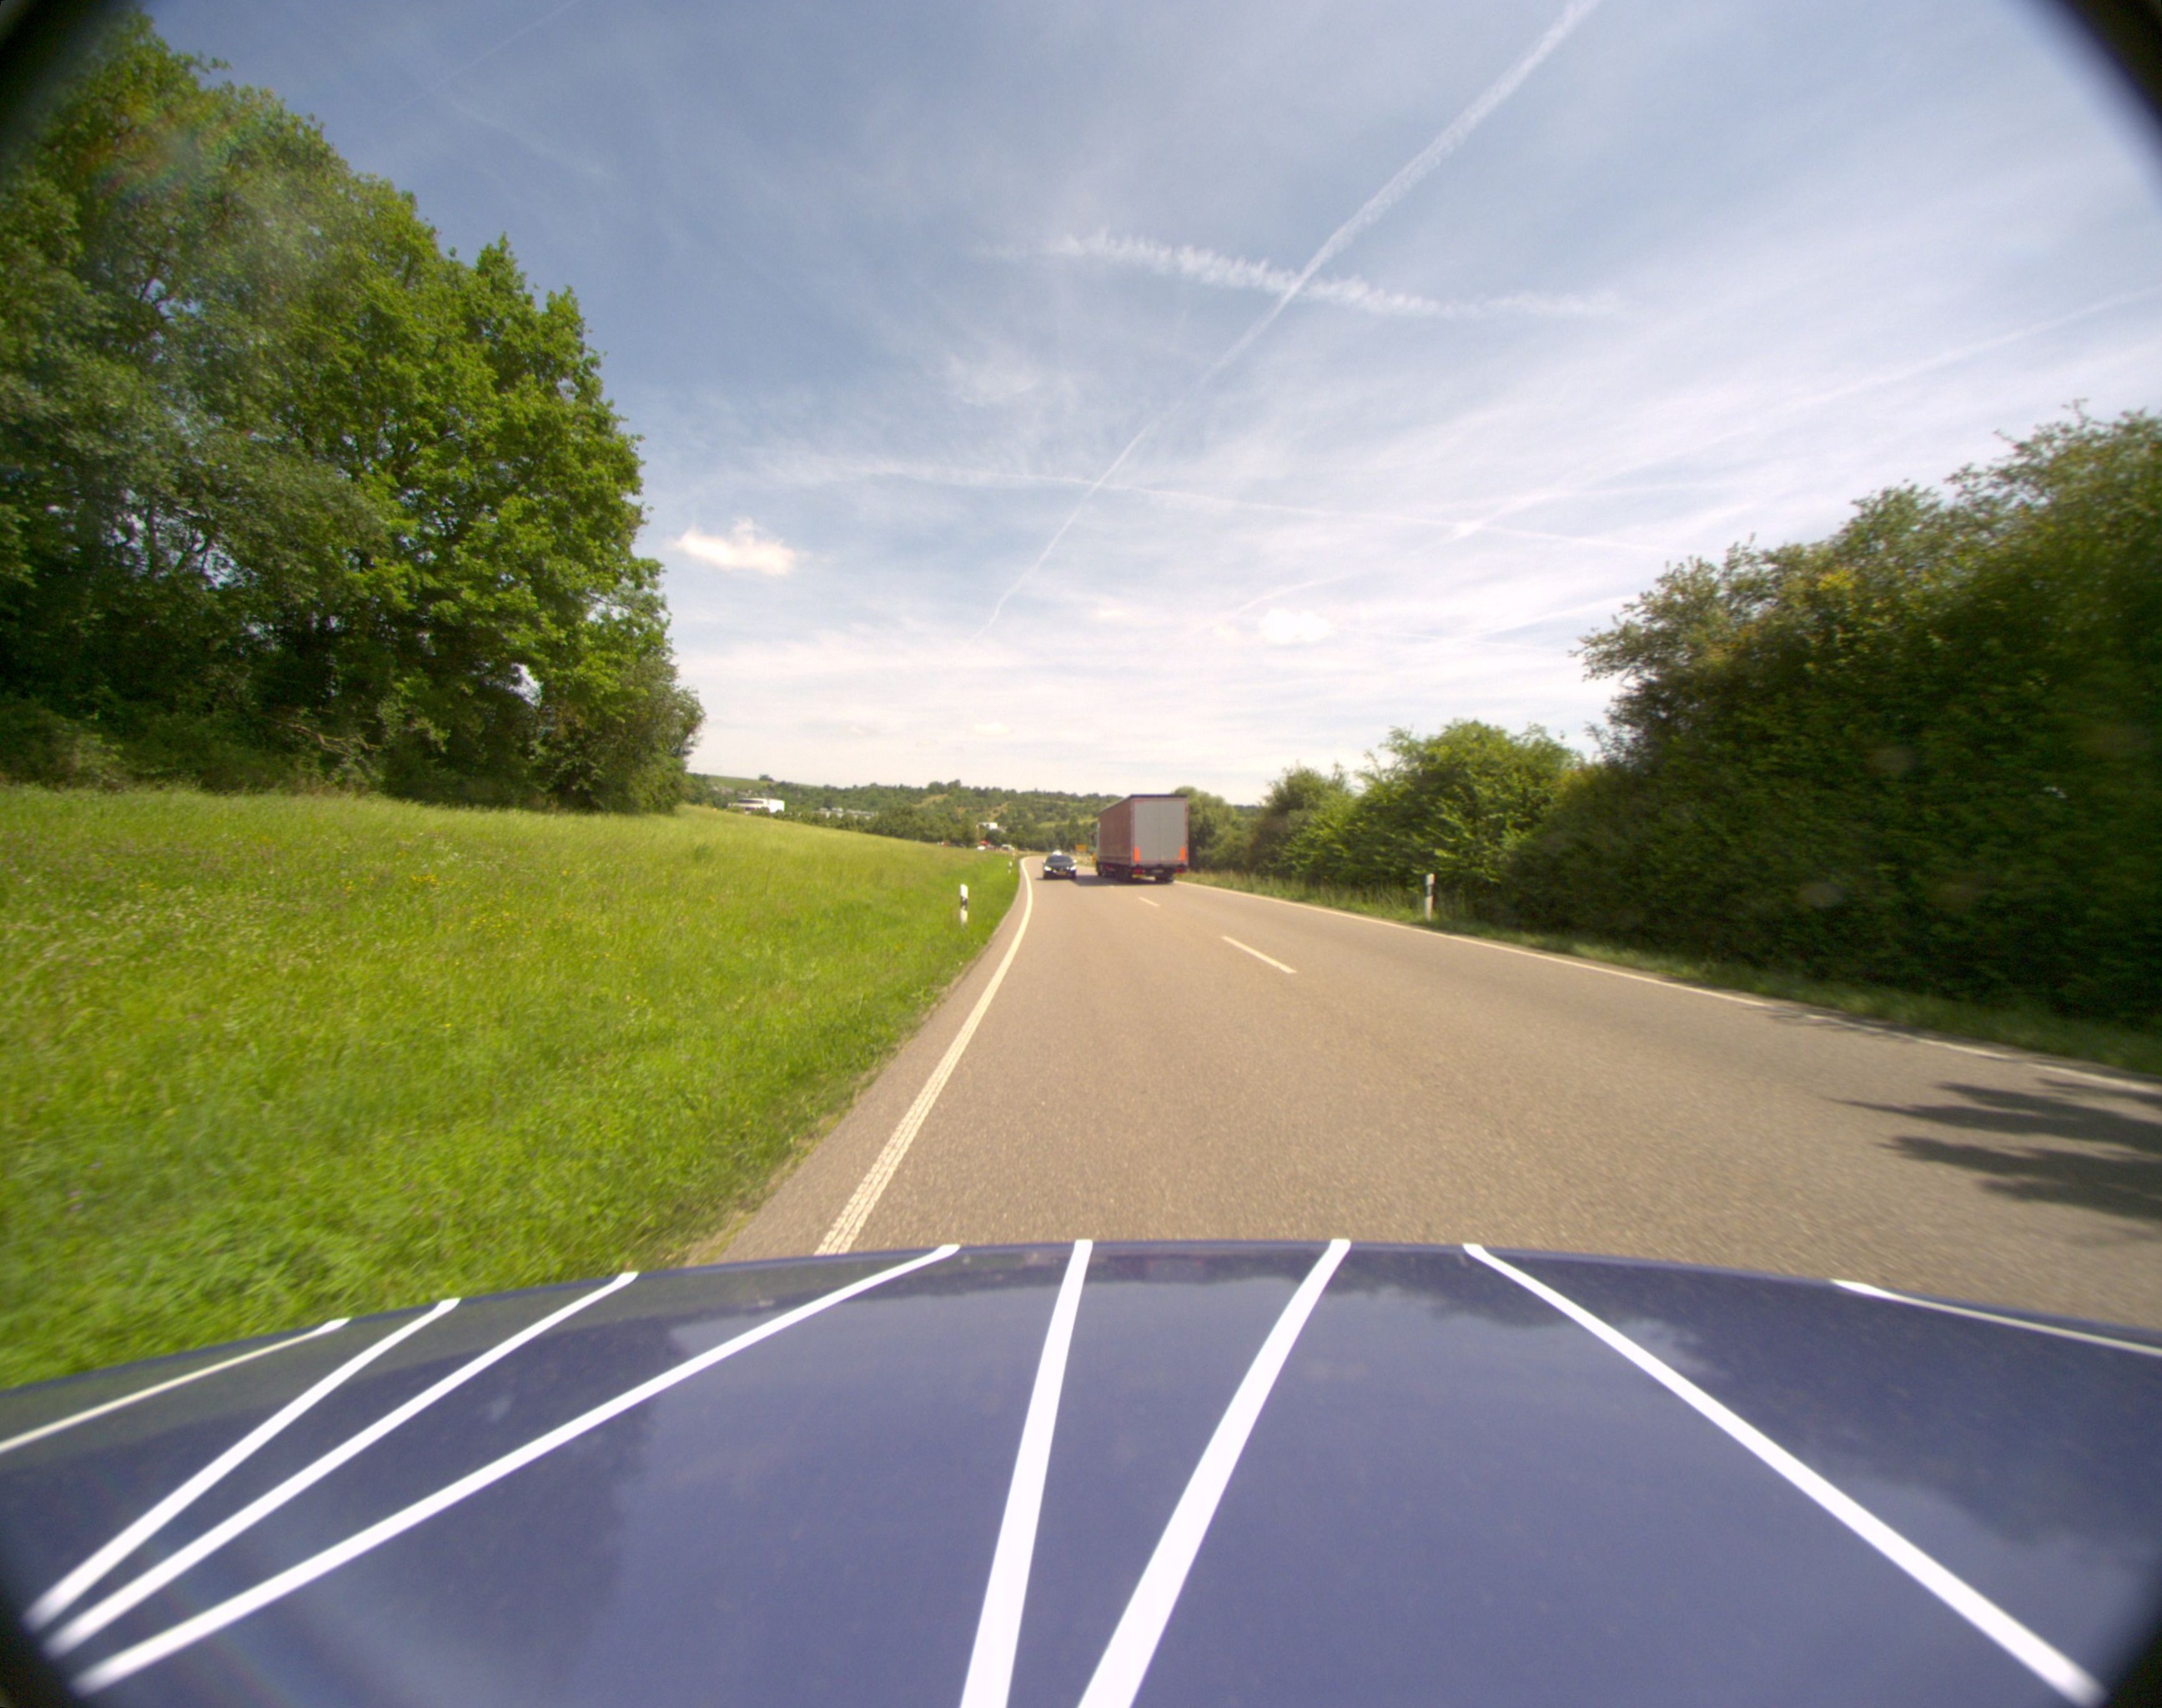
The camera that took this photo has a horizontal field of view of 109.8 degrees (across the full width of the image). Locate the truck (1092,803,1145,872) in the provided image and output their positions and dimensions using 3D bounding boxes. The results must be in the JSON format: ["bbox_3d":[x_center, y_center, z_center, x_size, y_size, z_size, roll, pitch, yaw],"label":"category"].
[{"bbox_3d":[2.308,-1.013,48.500,2.566,4.092,5.796,-2,1,-4],"label":"truck"}]

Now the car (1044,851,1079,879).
[{"bbox_3d":[-1.188,0.579,44.175,1.786,1.440,4.601,-2,1,-4],"label":"car"}]

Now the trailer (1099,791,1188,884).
[{"bbox_3d":[2.937,-0.756,40.503,2.576,4.084,13.655,-2,0,-4],"label":"trailer"}]
